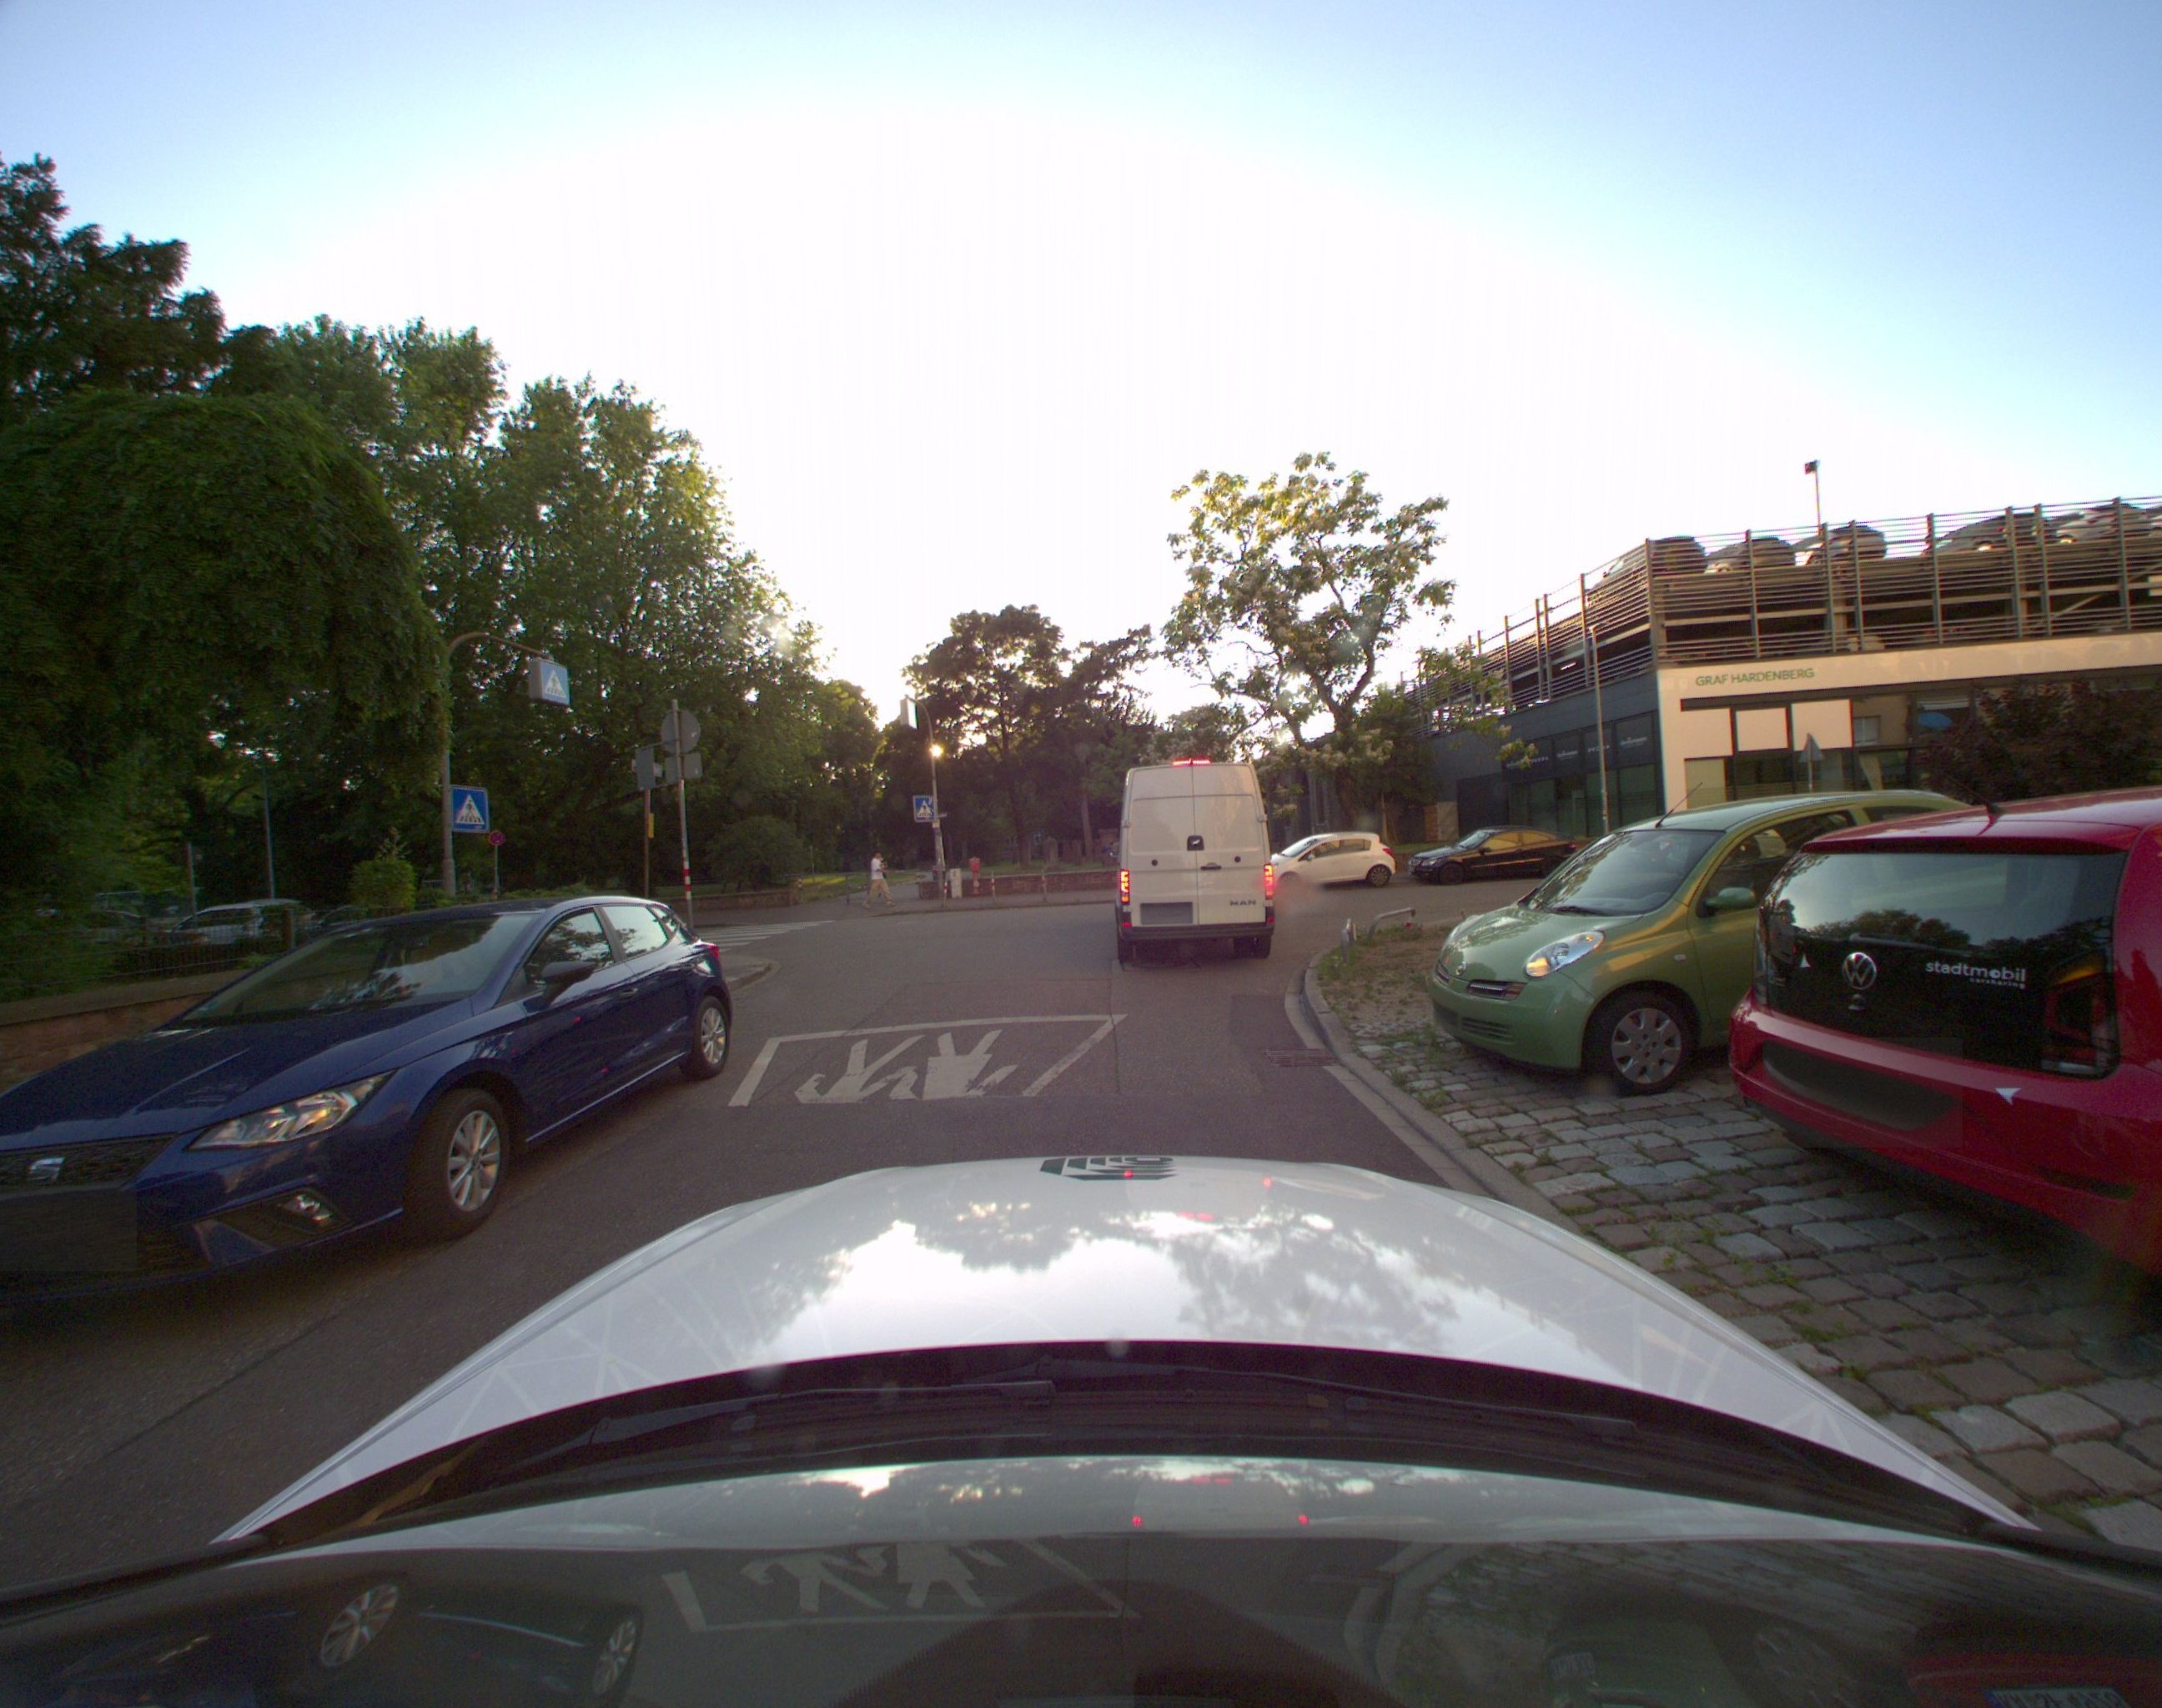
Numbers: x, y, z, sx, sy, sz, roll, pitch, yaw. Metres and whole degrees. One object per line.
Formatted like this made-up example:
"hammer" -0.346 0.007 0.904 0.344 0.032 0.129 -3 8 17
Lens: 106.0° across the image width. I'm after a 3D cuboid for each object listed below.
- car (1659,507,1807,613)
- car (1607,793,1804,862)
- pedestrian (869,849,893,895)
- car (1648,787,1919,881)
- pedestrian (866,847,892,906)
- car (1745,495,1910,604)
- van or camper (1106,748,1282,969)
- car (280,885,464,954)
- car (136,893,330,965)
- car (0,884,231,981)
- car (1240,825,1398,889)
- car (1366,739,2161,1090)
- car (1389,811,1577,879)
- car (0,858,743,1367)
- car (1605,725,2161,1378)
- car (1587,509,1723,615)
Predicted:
"car" 21.781 -9.770 27.456 1.984 2.013 4.007 -2 0 6
"car" 16.842 -0.700 22.130 3.819 1.503 1.826 -4 0 4
"pedestrian" -7.281 0.653 29.612 0.644 1.648 0.674 -2 0 0
"car" 14.266 -0.390 16.732 3.819 1.523 1.826 -4 0 4
"pedestrian" -6.363 0.707 25.708 0.591 1.809 0.621 -2 0 2
"car" 24.493 -9.933 26.947 1.984 2.013 4.007 -2 0 6
"van or camper" 1.452 0.060 12.956 1.986 2.618 6.403 1 0 1
"car" -20.939 1.912 24.142 3.831 1.491 1.828 -4 6 7
"car" -25.642 2.243 24.727 3.852 1.562 1.826 -4 6 4
"car" -21.587 1.714 17.757 4.212 1.799 1.824 -4 -3 2
"car" 6.669 0.069 23.139 3.844 1.574 1.957 -3 1 -2
"car" 4.490 0.325 5.488 4.392 1.631 1.844 -5 -2 -2
"car" 11.105 -0.252 22.738 4.273 1.503 1.826 -4 0 4
"car" -3.508 0.892 4.609 1.731 1.567 3.785 -5 0 -5
"car" 4.767 0.255 2.946 4.386 1.631 1.847 -7 0 2
"car" 19.215 -9.733 27.498 1.984 2.013 4.007 -2 0 6
